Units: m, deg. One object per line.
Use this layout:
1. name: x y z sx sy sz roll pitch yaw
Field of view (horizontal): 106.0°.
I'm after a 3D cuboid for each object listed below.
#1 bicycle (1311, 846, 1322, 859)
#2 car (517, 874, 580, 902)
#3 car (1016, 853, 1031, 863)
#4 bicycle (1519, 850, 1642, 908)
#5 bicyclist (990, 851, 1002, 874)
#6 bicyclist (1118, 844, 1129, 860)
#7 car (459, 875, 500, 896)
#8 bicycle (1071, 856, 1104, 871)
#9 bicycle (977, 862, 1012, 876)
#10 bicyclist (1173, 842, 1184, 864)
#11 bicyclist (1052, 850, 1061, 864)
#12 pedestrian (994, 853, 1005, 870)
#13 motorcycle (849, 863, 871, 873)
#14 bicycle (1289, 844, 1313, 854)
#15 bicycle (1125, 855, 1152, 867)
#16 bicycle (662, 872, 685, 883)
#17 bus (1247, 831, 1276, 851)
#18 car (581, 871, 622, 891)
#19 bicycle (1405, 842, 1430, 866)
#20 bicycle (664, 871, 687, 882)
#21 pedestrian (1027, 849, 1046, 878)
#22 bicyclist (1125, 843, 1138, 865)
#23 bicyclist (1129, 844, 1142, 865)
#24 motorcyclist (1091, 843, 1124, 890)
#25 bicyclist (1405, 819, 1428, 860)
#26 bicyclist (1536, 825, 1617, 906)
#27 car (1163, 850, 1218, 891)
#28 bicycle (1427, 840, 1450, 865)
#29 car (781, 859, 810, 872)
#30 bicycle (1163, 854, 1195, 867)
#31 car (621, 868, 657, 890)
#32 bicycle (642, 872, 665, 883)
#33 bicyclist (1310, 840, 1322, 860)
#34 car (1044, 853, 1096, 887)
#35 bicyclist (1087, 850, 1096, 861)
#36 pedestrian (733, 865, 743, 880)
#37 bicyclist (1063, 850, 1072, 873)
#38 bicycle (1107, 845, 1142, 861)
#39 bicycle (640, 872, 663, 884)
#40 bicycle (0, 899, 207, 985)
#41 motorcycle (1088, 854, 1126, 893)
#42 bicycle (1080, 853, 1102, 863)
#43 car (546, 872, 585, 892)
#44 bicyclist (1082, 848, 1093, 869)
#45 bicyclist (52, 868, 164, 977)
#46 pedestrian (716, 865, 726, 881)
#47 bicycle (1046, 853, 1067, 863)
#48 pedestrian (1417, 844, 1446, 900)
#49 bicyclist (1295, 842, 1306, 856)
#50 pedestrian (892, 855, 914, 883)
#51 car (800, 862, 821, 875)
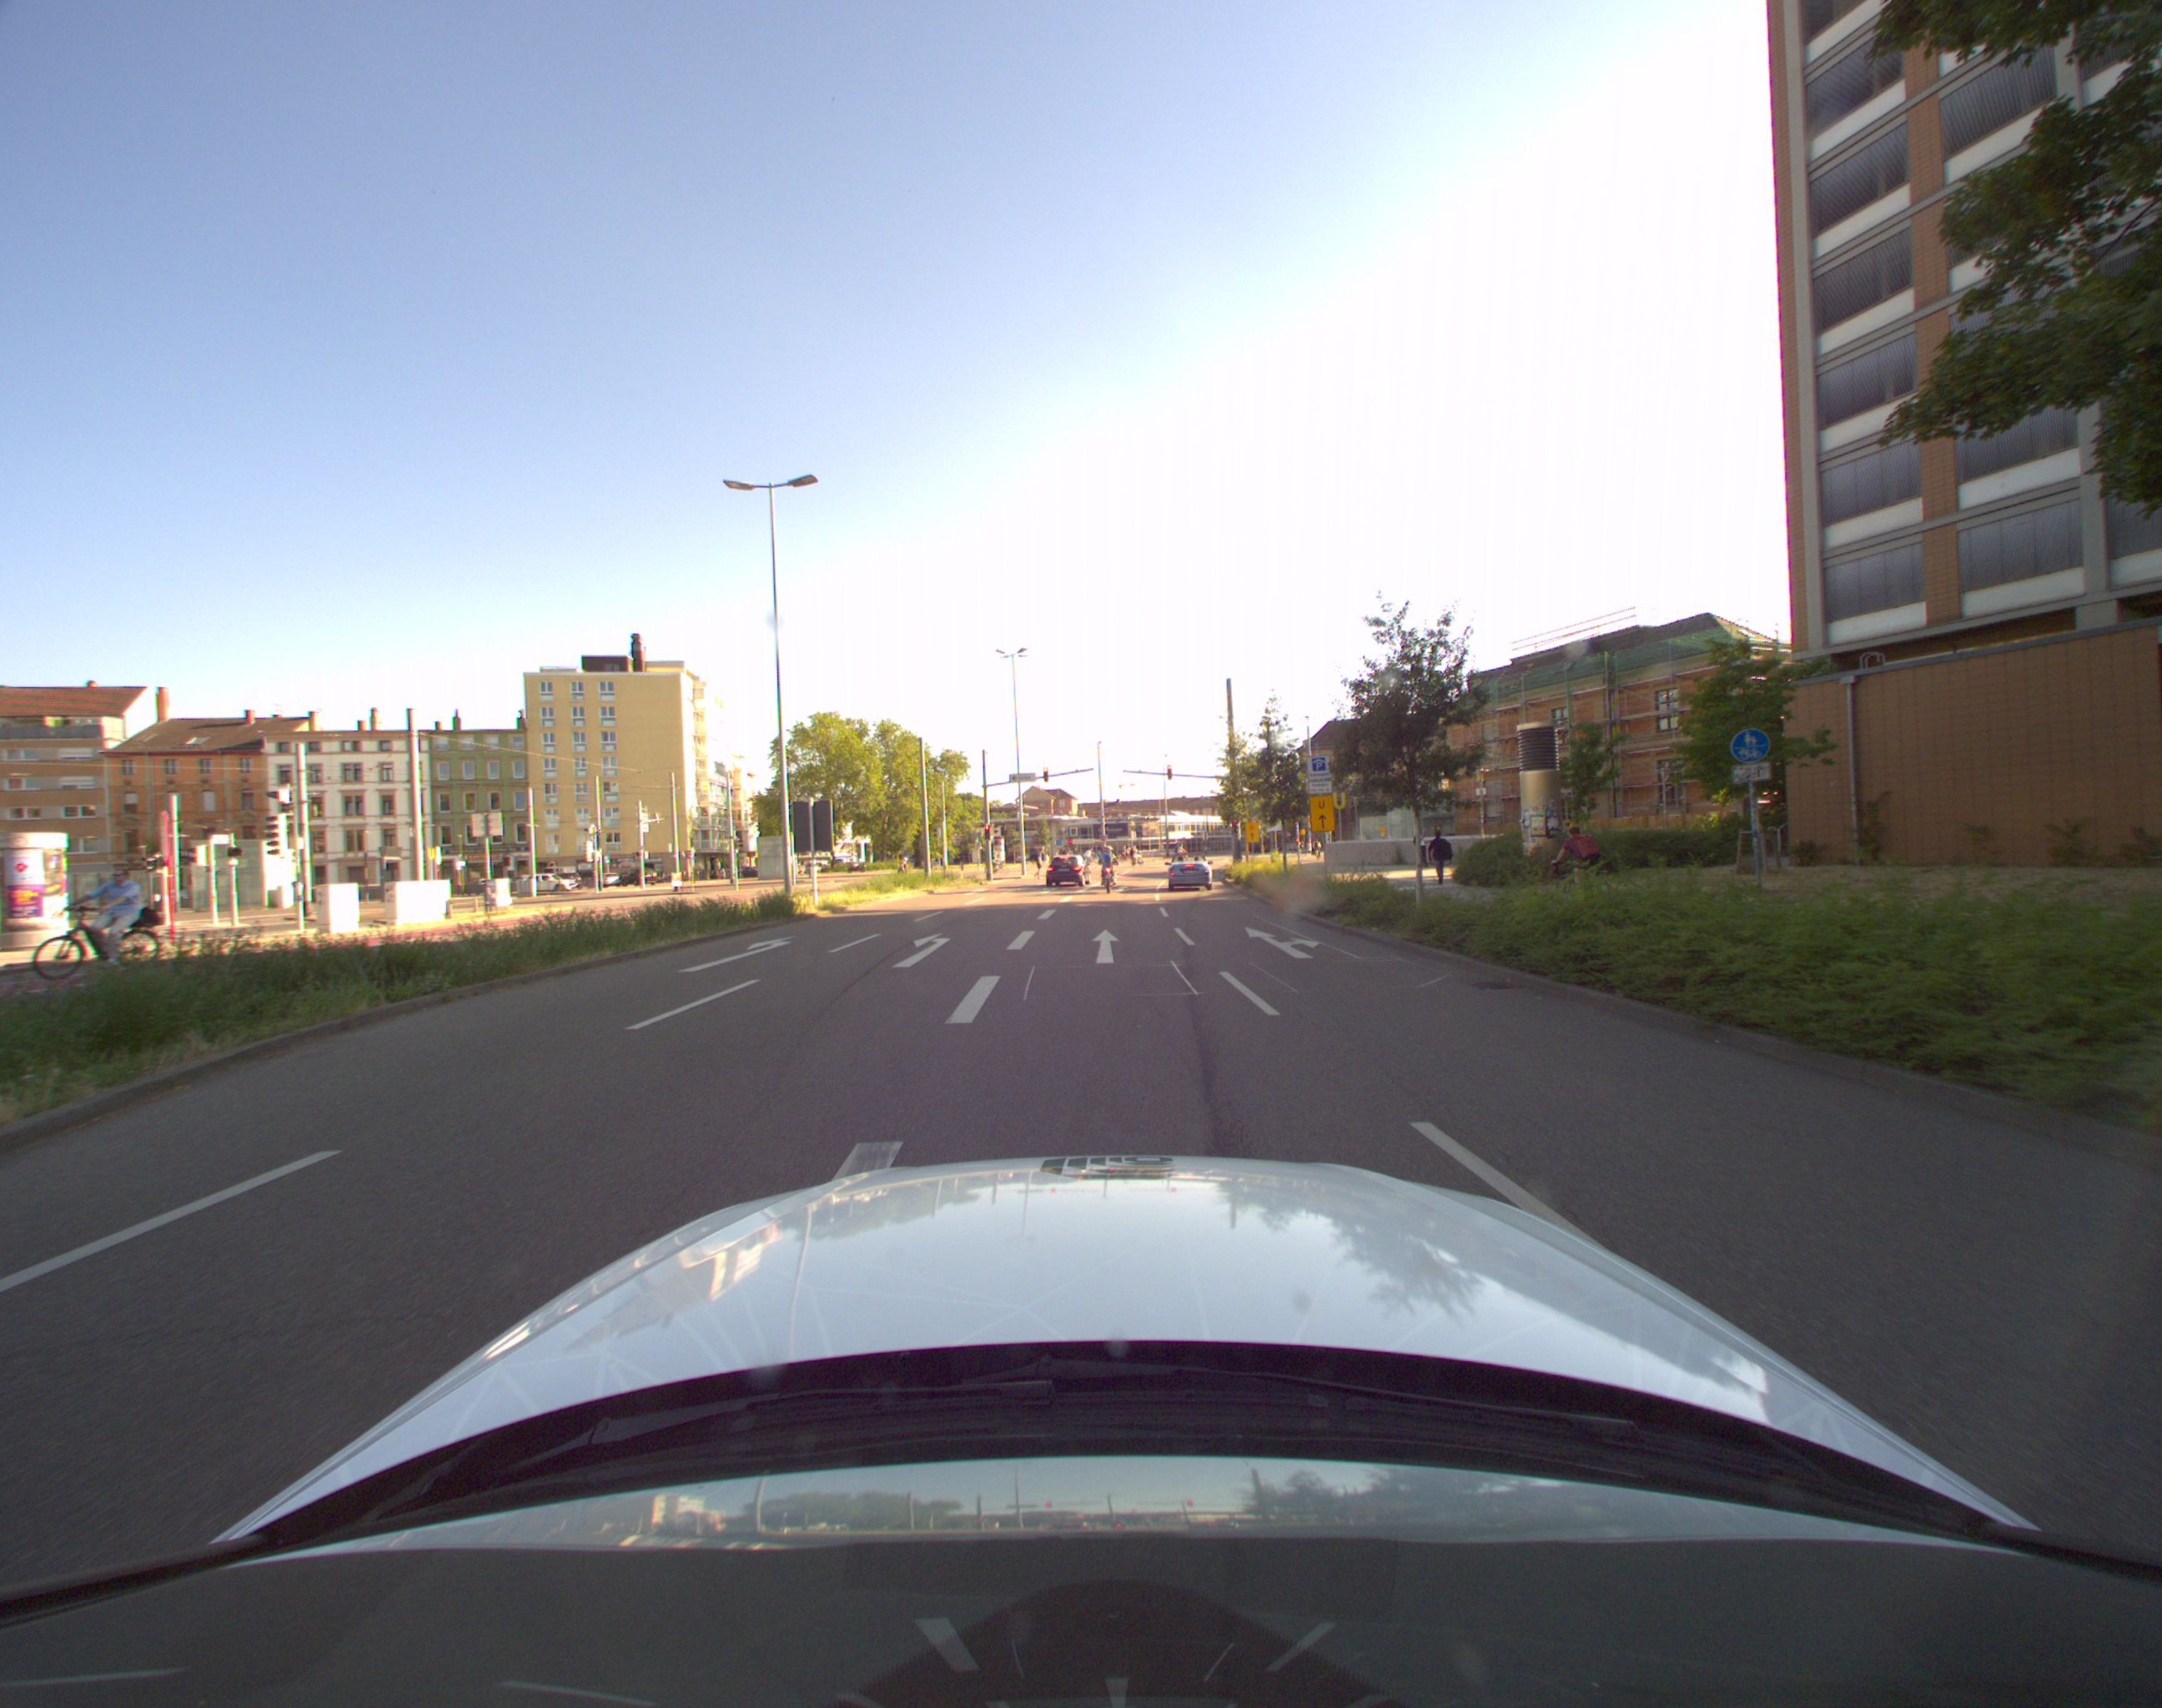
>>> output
1. bicycle: 19.119 -0.113 66.091 0.783 1.039 1.971 -4 -1 16
2. car: -43.054 2.730 65.948 3.737 2.013 1.992 -2 2 -12
3. car: -9.881 0.635 140.006 1.986 1.534 4.003 -2 2 2
4. bicycle: 8.903 0.442 14.655 0.718 0.952 2.246 -1 -1 -3
5. bicyclist: -6.258 0.619 59.874 0.746 1.690 0.856 -2 2 -14
6. bicyclist: 5.026 -0.241 96.840 1.070 1.900 1.119 -2 2 -11
7. car: -56.636 2.939 76.639 3.958 1.719 2.100 0 2 38
8. bicycle: 0.503 0.765 65.269 2.494 1.133 0.857 -2 2 -11
9. bicycle: -6.361 1.117 59.845 2.496 0.874 0.856 -2 2 -14
10. bicyclist: 7.532 -0.073 62.909 0.649 1.690 0.858 -2 2 -8
11. bicyclist: -2.839 0.356 94.670 0.923 1.559 0.858 -2 2 -9
12. pedestrian: -9.172 0.823 91.286 0.984 1.816 0.922 -2 2 6
13. motorcycle: -24.719 1.576 91.140 2.281 1.054 0.686 -2 2 -6
14. bicycle: 25.041 -0.584 92.553 2.437 1.003 0.960 -3 0 -8
15. bicycle: 4.857 0.561 68.648 2.314 0.905 0.851 -3 2 -36
16. bicycle: -43.677 2.494 87.360 2.043 1.090 0.774 -3 0 -12
17. bus: 29.196 -2.158 131.309 2.332 2.882 9.637 -1 2 26
18. car: -46.175 2.543 78.393 3.948 1.748 1.852 0 2 36
19. bicycle: 15.646 0.004 37.869 0.783 1.039 1.971 -4 -1 16
20. bicycle: -43.891 2.473 88.178 2.043 1.090 0.774 -3 0 -12
21. pedestrian: -2.648 0.555 48.228 0.832 1.671 0.692 -2 0 -32
22. bicyclist: 4.196 0.020 68.147 0.587 1.778 0.857 -2 0 -36
23. bicyclist: 4.614 0.018 68.485 0.654 1.690 0.851 -3 2 -36
24. motorcyclist: 0.992 0.453 30.634 1.090 1.721 0.939 -2 0 8
25. bicyclist: 15.581 -0.663 37.834 0.781 1.786 0.897 -4 -1 15
26. bicyclist: 8.897 0.205 14.669 0.718 1.384 1.074 -1 -1 -3
27. car: 4.347 0.602 31.897 1.789 1.444 3.991 -1 0 12
28. bicycle: 16.639 -0.080 37.852 0.620 1.039 1.975 -5 -1 33
29. car: -44.084 1.755 125.826 4.010 1.857 1.836 -3 2 -28
30. bicycle: 7.586 0.488 62.931 2.294 0.905 0.858 -2 2 -8
31. car: -43.122 2.407 79.394 3.950 1.857 1.864 0 2 43
32. bicycle: -46.062 2.563 87.722 2.043 1.090 0.774 -3 0 -12
33. bicyclist: 19.063 -0.321 66.048 0.783 1.593 0.951 -4 -1 15
34. car: -0.455 0.706 37.848 1.791 1.444 3.987 -1 0 8
35. bicyclist: 1.162 0.169 91.958 0.714 1.142 0.833 -2 2 -17
36. pedestrian: -38.497 2.045 91.330 0.776 1.676 0.780 -3 0 -10
37. bicyclist: -1.025 0.566 62.102 0.648 1.690 0.859 -2 2 -4
38. bicycle: 5.183 -0.138 96.915 3.988 1.689 1.135 -2 2 -11
39. bicycle: -45.809 2.575 86.888 2.043 1.090 0.774 -3 0 -12
40. bicycle: -17.159 1.489 14.425 0.738 1.255 2.552 -2 -1 -5
41. motorcycle: 1.004 0.712 30.635 1.089 1.377 2.660 -2 0 9
42. bicycle: 1.112 0.462 91.946 2.301 0.959 0.855 -3 2 -16
43. car: -49.296 2.673 77.801 3.948 1.719 1.852 0 2 38
44. bicyclist: 0.503 0.359 65.250 0.649 1.690 0.857 -2 2 -10
45. bicyclist: -17.166 1.175 14.403 0.739 1.832 1.012 -2 -1 -5
46. pedestrian: -40.258 2.120 91.018 0.776 1.676 0.780 -3 0 -10
47. bicycle: -2.820 0.466 94.691 2.294 0.979 0.858 -2 2 -8
48. pedestrian: 10.695 0.529 24.824 0.798 1.658 0.795 0 0 24
49. bicyclist: 24.955 -0.575 92.531 0.923 1.559 0.960 -3 0 -8
50. pedestrian: -10.597 0.891 48.542 1.090 1.606 0.698 -2 2 -3
51. car: -34.759 1.834 104.796 1.846 1.452 3.988 -2 0 -8
